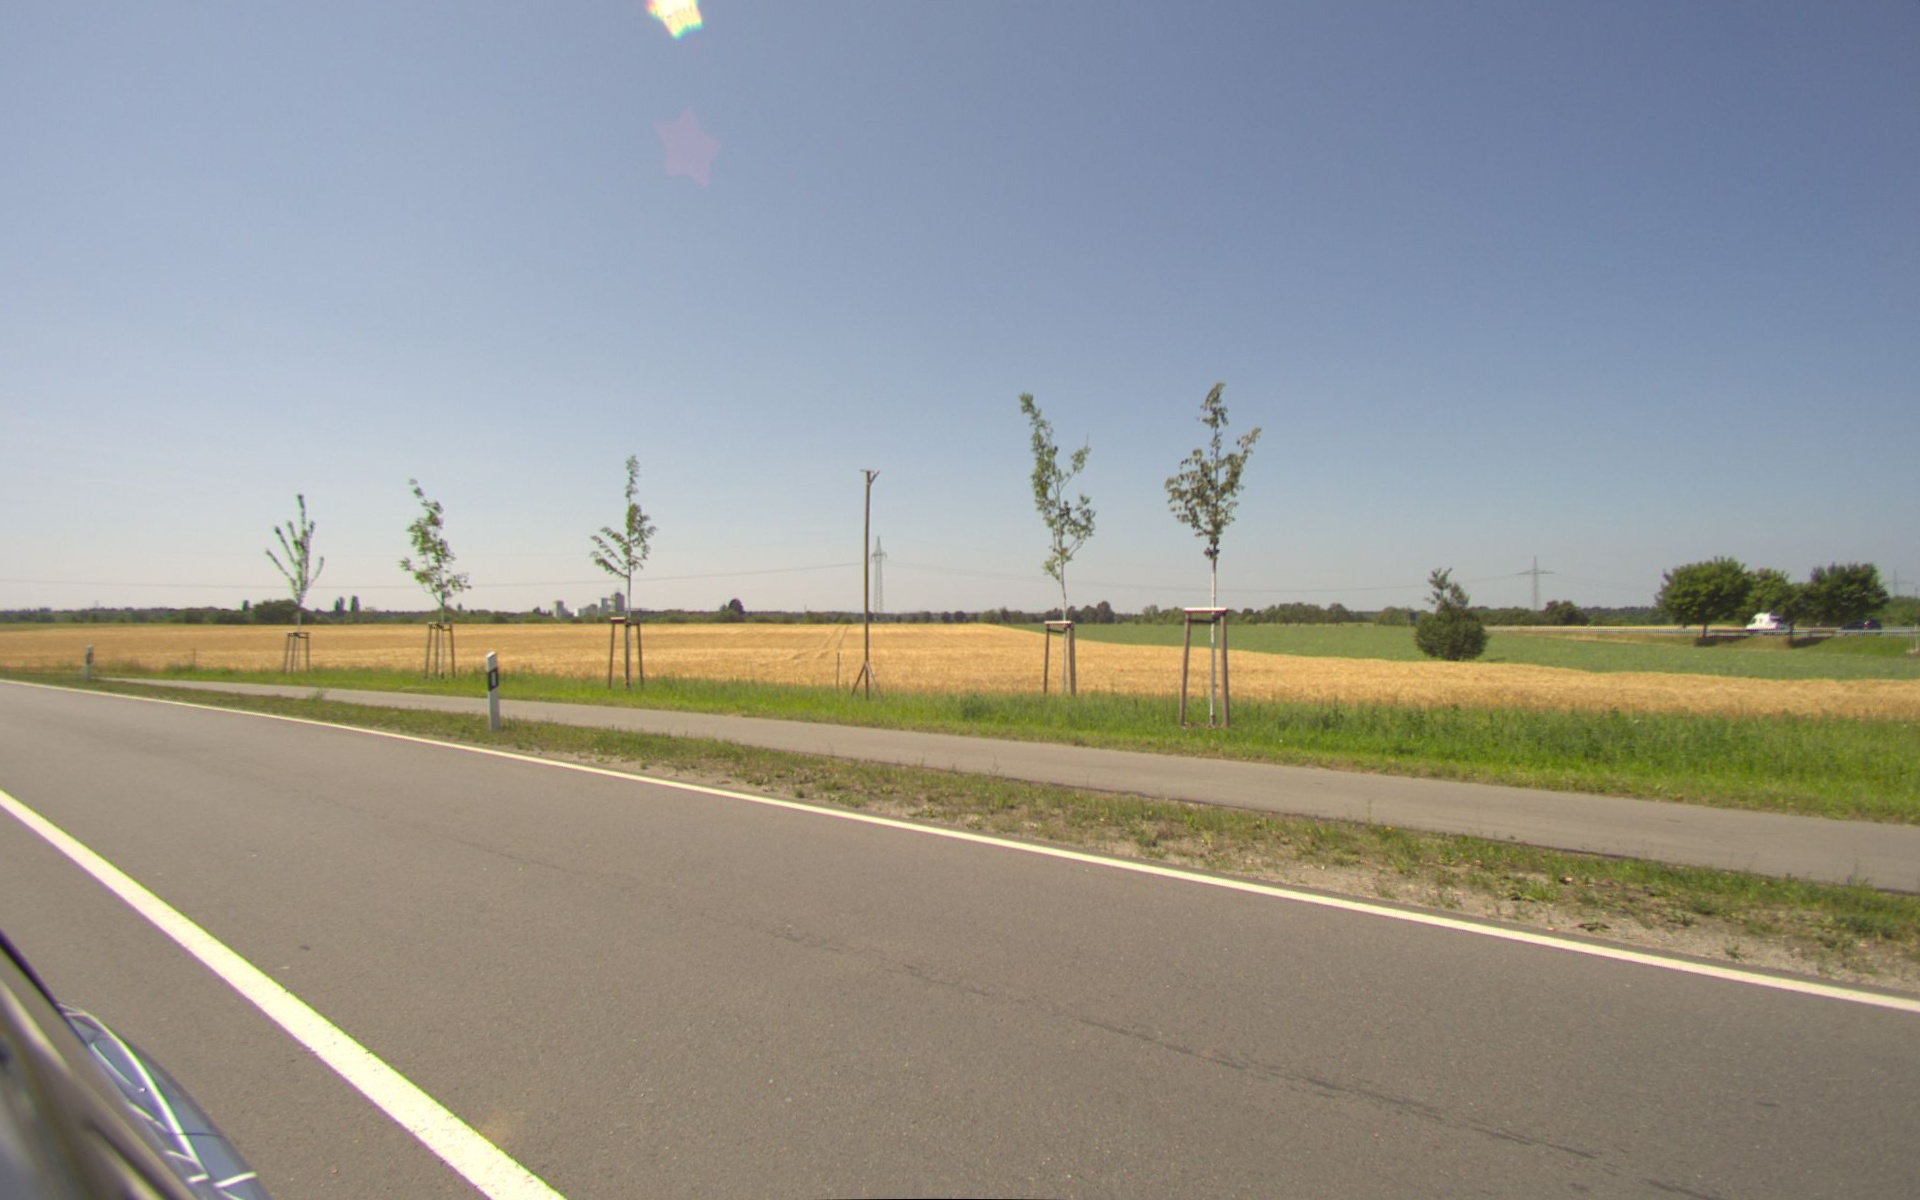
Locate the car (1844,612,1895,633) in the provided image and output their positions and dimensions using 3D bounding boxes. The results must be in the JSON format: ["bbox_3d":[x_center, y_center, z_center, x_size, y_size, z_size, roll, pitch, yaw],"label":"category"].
[{"bbox_3d":[94.237,2.272,104.911,1.976,2.029,3.992,-1,1,7],"label":"car"}]

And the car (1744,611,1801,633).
[{"bbox_3d":[96.244,2.564,120.005,2.219,2.440,5.929,-1,-1,4],"label":"car"}]
